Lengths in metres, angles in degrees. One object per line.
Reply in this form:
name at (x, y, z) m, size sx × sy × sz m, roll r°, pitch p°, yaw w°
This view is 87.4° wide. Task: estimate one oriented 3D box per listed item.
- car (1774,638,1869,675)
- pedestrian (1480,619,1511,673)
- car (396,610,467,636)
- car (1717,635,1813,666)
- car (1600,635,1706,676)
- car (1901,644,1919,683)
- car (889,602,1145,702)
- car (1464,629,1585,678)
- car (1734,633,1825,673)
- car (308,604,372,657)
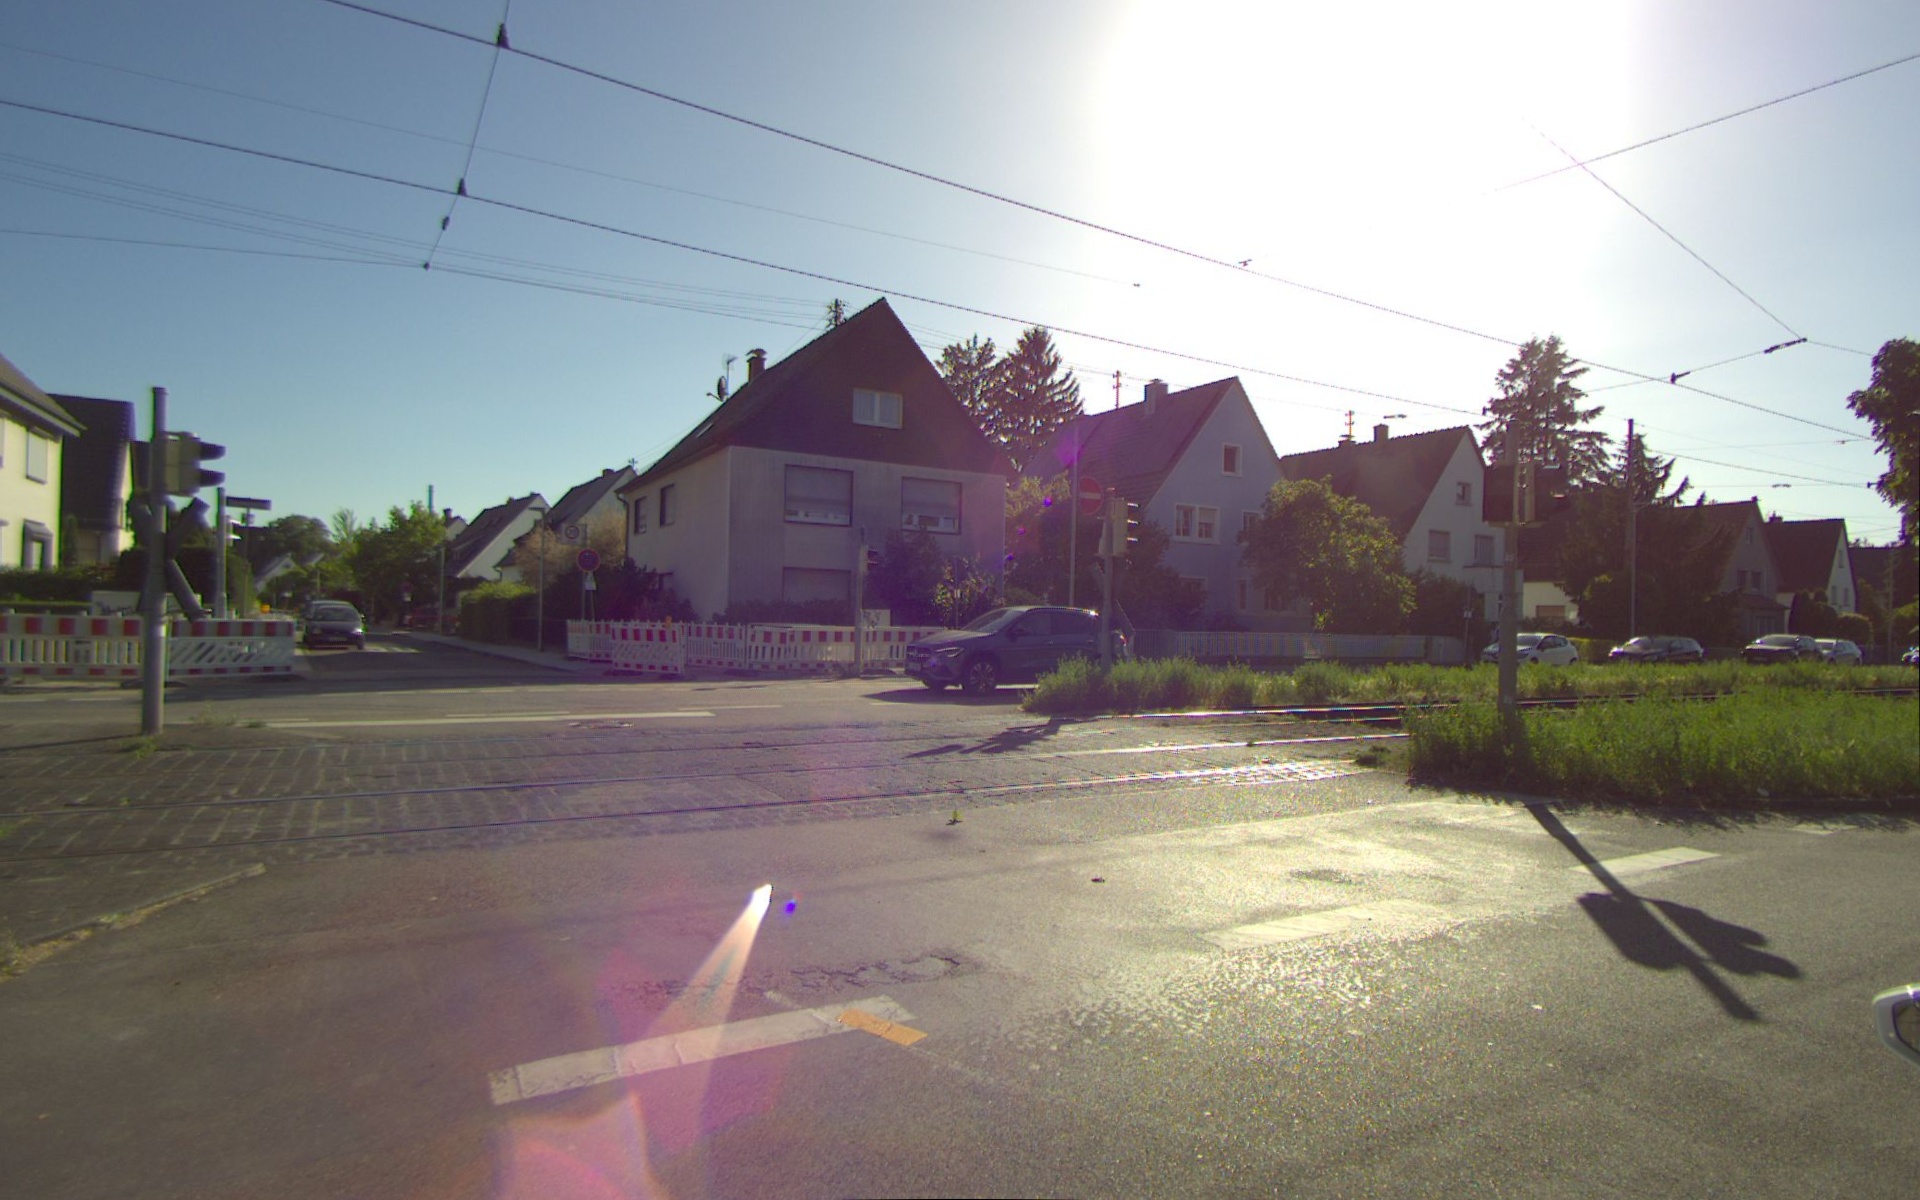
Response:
car at (41.717, 2.742, 48.616) m, size 4.724 × 1.566 × 1.984 m, roll 3°, pitch 0°, yaw -30°
pedestrian at (20.764, 1.791, 38.953) m, size 0.763 × 2.040 × 0.677 m, roll 2°, pitch 0°, yaw -30°
car at (-35.575, 1.577, 67.677) m, size 3.963 × 1.570 × 1.725 m, roll 3°, pitch 0°, yaw -37°
car at (46.390, 2.897, 57.943) m, size 1.866 × 1.472 × 3.900 m, roll 1°, pitch 1°, yaw -29°
car at (27.697, 2.216, 40.122) m, size 4.549 × 1.485 × 1.720 m, roll 3°, pitch 0°, yaw -31°
car at (42.477, 2.786, 43.181) m, size 4.755 × 1.573 × 1.652 m, roll 3°, pitch 0°, yaw -31°
car at (1.108, 0.961, 18.849) m, size 4.422 × 1.625 × 1.984 m, roll 3°, pitch 0°, yaw -31°
car at (20.076, 1.895, 35.691) m, size 4.179 × 1.562 × 1.850 m, roll 3°, pitch 0°, yaw -31°
car at (37.304, 2.422, 45.719) m, size 4.503 × 1.672 × 1.739 m, roll 3°, pitch 0°, yaw -31°
car at (-20.973, 0.991, 34.038) m, size 1.724 × 1.570 × 3.965 m, roll 2°, pitch 0°, yaw -31°
